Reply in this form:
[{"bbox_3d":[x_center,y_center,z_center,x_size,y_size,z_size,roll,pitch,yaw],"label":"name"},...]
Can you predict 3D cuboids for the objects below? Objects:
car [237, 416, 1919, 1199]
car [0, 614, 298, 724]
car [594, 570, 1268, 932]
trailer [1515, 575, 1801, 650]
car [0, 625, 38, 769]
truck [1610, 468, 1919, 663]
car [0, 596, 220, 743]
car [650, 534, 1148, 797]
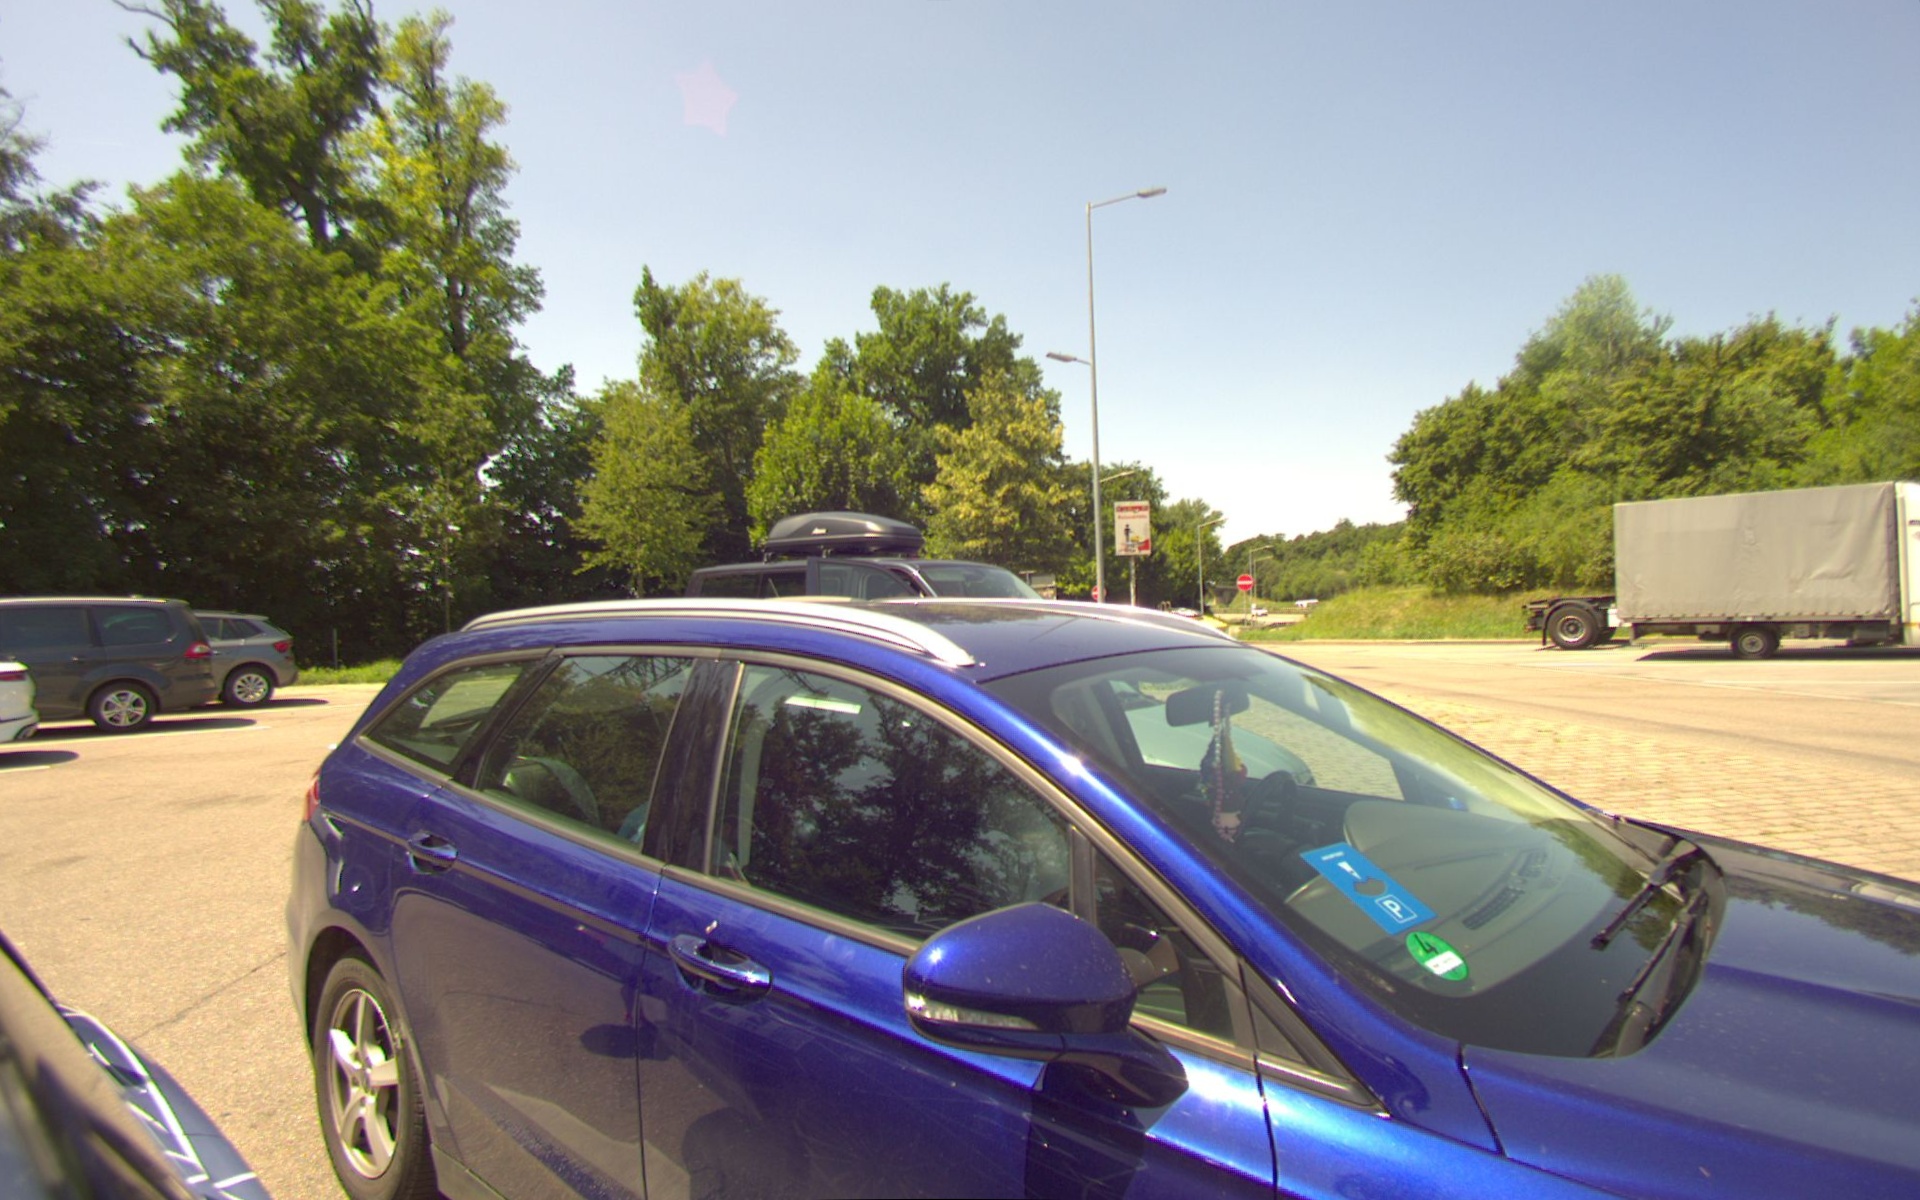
[{"bbox_3d":[0.240,0.648,2.085,4.426,1.455,1.763,-2,-1,40],"label":"car"},{"bbox_3d":[-12.612,0.970,15.624,3.753,1.488,1.743,0,-1,-45],"label":"car"},{"bbox_3d":[-0.365,0.648,5.806,3.739,1.424,1.587,-2,-1,40],"label":"car"},{"bbox_3d":[16.327,0.351,23.921,5.393,1.608,1.576,-2,-1,41],"label":"trailer"},{"bbox_3d":[-10.961,0.940,9.196,3.753,1.377,1.804,0,-1,-45],"label":"car"},{"bbox_3d":[16.708,-0.615,18.849,7.308,3.258,2.294,-5,-2,43],"label":"truck"},{"bbox_3d":[-11.715,0.833,12.584,3.830,1.703,1.883,0,-2,-45],"label":"car"},{"bbox_3d":[-0.733,0.532,9.417,4.426,1.875,2.022,-2,-1,40],"label":"car"}]
